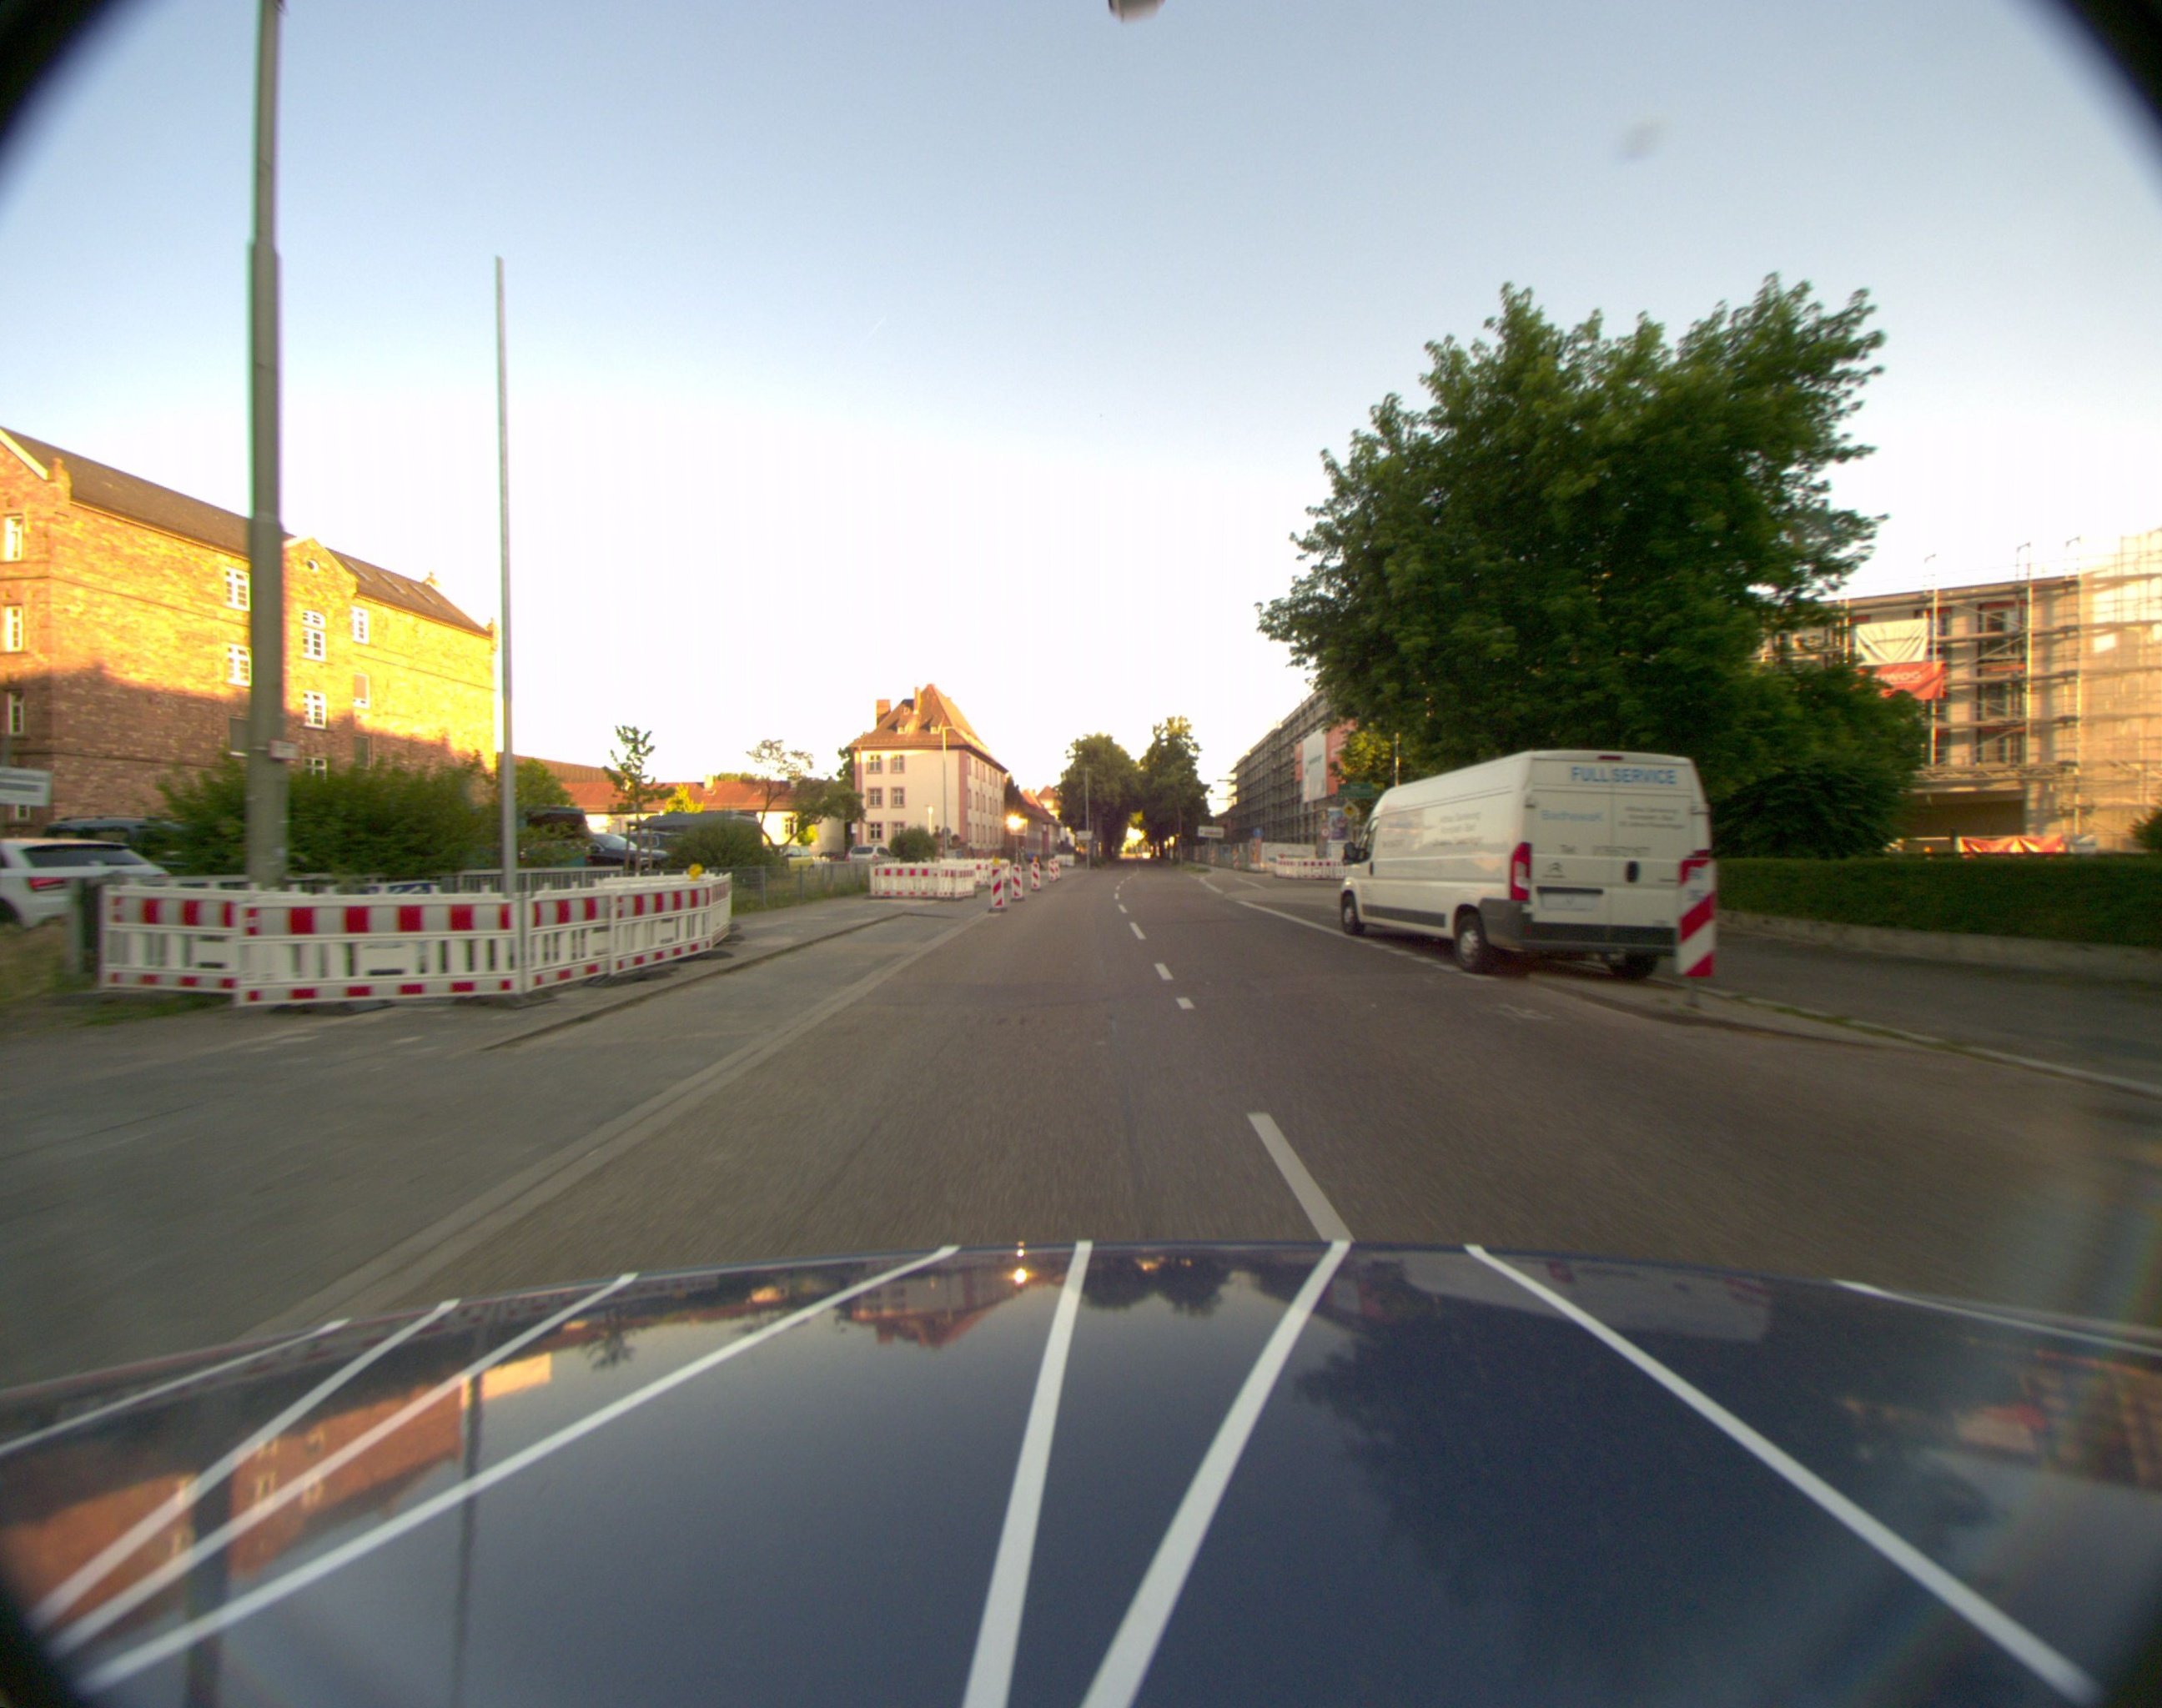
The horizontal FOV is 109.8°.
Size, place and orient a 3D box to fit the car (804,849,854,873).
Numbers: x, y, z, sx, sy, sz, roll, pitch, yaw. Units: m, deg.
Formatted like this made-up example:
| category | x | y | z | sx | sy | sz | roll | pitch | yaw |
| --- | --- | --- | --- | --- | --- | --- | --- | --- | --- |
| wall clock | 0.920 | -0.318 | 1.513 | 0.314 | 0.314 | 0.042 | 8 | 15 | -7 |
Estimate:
| category | x | y | z | sx | sy | sz | roll | pitch | yaw |
| --- | --- | --- | --- | --- | --- | --- | --- | --- | --- |
| car | -19.145 | 0.522 | 57.824 | 1.997 | 1.692 | 4.002 | -1 | 1 | 8 |

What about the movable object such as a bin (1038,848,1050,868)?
| category | x | y | z | sx | sy | sz | roll | pitch | yaw |
| --- | --- | --- | --- | --- | --- | --- | --- | --- | --- |
| movable object such as a bin | -2.990 | 0.298 | 61.553 | 0.978 | 1.600 | 0.634 | -1 | 1 | -5 |

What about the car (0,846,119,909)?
| category | x | y | z | sx | sy | sz | roll | pitch | yaw |
| --- | --- | --- | --- | --- | --- | --- | --- | --- | --- |
| car | -27.258 | 0.558 | 19.348 | 3.726 | 1.509 | 1.828 | 0 | 1 | 9 |

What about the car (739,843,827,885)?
| category | x | y | z | sx | sy | sz | roll | pitch | yaw |
| --- | --- | --- | --- | --- | --- | --- | --- | --- | --- |
| car | -12.553 | 0.374 | 32.285 | 1.700 | 1.639 | 4.137 | -1 | 1 | 6 |

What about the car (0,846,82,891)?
| category | x | y | z | sx | sy | sz | roll | pitch | yaw |
| --- | --- | --- | --- | --- | --- | --- | --- | --- | --- |
| car | -38.143 | 0.480 | 26.594 | 4.143 | 1.509 | 1.827 | 0 | 1 | 4 |

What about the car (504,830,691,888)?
| category | x | y | z | sx | sy | sz | roll | pitch | yaw |
| --- | --- | --- | --- | --- | --- | --- | --- | --- | --- |
| car | -14.529 | 0.143 | 23.003 | 4.433 | 1.639 | 2.000 | -1 | 1 | 4 |

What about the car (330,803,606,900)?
| category | x | y | z | sx | sy | sz | roll | pitch | yaw |
| --- | --- | --- | --- | --- | --- | --- | --- | --- | --- |
| car | -14.590 | -0.048 | 18.261 | 5.030 | 2.117 | 2.291 | -1 | 1 | 8 |

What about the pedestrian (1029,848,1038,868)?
| category | x | y | z | sx | sy | sz | roll | pitch | yaw |
| --- | --- | --- | --- | --- | --- | --- | --- | --- | --- |
| pedestrian | -3.843 | 0.314 | 61.051 | 0.716 | 1.600 | 0.518 | -1 | 1 | -5 |

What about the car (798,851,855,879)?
| category | x | y | z | sx | sy | sz | roll | pitch | yaw |
| --- | --- | --- | --- | --- | --- | --- | --- | --- | --- |
| car | -15.216 | 0.629 | 45.624 | 2.016 | 1.591 | 4.000 | -1 | 1 | 1 |

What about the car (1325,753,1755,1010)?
| category | x | y | z | sx | sy | sz | roll | pitch | yaw |
| --- | --- | --- | --- | --- | --- | --- | --- | --- | --- |
| car | 5.500 | 0.252 | 10.551 | 2.184 | 2.447 | 6.102 | 2 | 0 | 0 |

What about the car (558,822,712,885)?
| category | x | y | z | sx | sy | sz | roll | pitch | yaw |
| --- | --- | --- | --- | --- | --- | --- | --- | --- | --- |
| car | -14.799 | -0.019 | 25.367 | 3.995 | 2.002 | 2.001 | 0 | 1 | 5 |

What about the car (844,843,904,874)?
| category | x | y | z | sx | sy | sz | roll | pitch | yaw |
| --- | --- | --- | --- | --- | --- | --- | --- | --- | --- |
| car | -11.431 | 0.230 | 42.287 | 1.919 | 1.620 | 4.808 | -1 | 0 | 1 |

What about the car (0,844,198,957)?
| category | x | y | z | sx | sy | sz | roll | pitch | yaw |
| --- | --- | --- | --- | --- | --- | --- | --- | --- | --- |
| car | -15.232 | 0.588 | 10.644 | 3.839 | 1.444 | 1.695 | 0 | 1 | 2 |

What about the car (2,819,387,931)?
| category | x | y | z | sx | sy | sz | roll | pitch | yaw |
| --- | --- | --- | --- | --- | --- | --- | --- | --- | --- |
| car | -15.284 | 0.333 | 13.298 | 4.489 | 1.800 | 2.005 | 0 | 1 | 2 |

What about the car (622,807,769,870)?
| category | x | y | z | sx | sy | sz | roll | pitch | yaw |
| --- | --- | --- | --- | --- | --- | --- | --- | --- | --- |
| car | -14.249 | -0.559 | 28.258 | 4.433 | 2.184 | 2.000 | -1 | 1 | 4 |
